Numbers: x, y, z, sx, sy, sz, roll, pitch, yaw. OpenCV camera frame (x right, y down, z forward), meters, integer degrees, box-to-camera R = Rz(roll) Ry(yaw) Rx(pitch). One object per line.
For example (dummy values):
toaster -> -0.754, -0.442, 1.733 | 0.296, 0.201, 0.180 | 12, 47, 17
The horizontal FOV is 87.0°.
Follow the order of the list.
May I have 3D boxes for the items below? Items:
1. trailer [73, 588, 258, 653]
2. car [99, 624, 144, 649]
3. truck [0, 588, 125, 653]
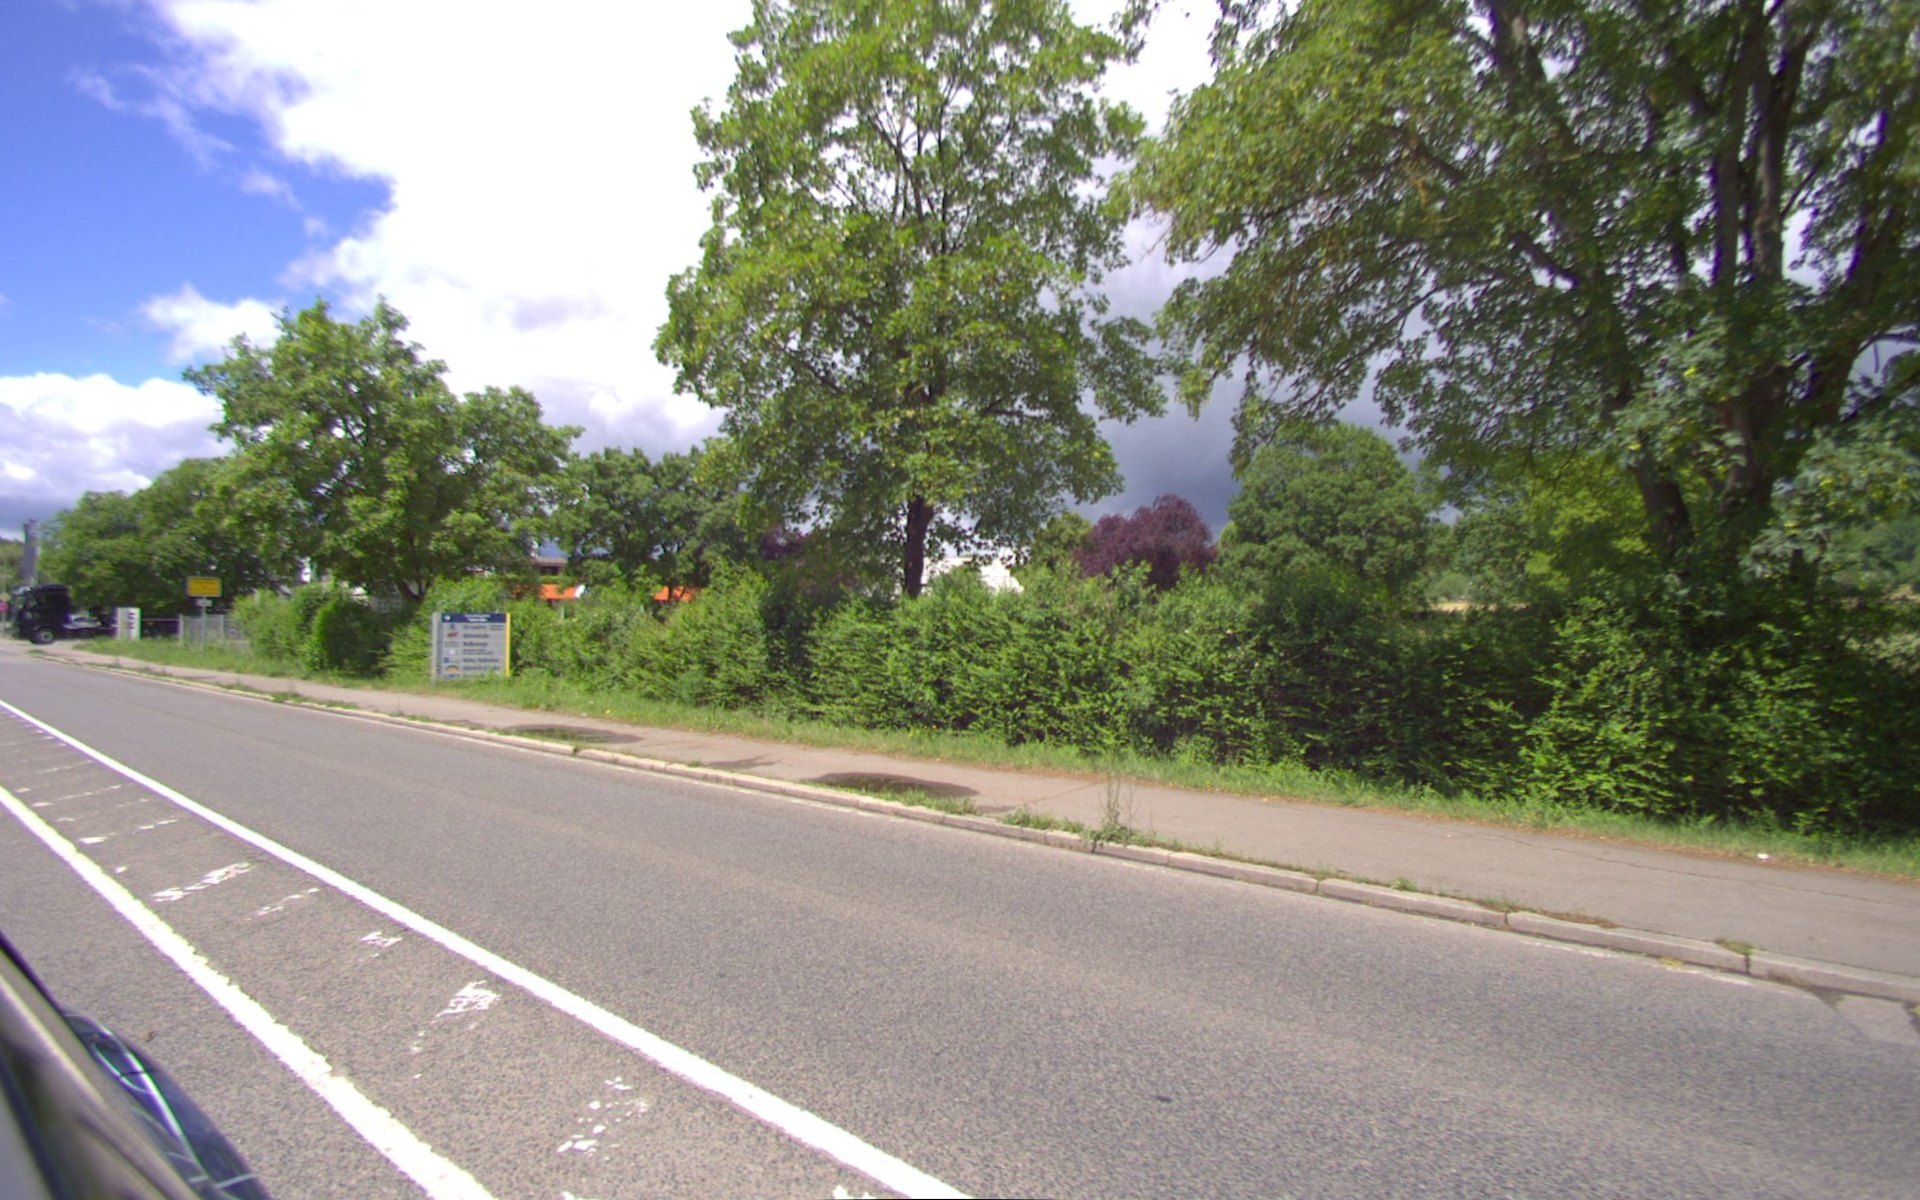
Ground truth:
trailer -> -53.968, 1.483, 69.156 | 3.302, 4.114, 9.383 | 0, -2, 26
car -> -60.296, 2.626, 72.788 | 4.600, 1.734, 1.909 | -2, -2, 43
truck -> -56.691, 1.338, 63.871 | 2.979, 3.853, 5.503 | -1, -2, 37
